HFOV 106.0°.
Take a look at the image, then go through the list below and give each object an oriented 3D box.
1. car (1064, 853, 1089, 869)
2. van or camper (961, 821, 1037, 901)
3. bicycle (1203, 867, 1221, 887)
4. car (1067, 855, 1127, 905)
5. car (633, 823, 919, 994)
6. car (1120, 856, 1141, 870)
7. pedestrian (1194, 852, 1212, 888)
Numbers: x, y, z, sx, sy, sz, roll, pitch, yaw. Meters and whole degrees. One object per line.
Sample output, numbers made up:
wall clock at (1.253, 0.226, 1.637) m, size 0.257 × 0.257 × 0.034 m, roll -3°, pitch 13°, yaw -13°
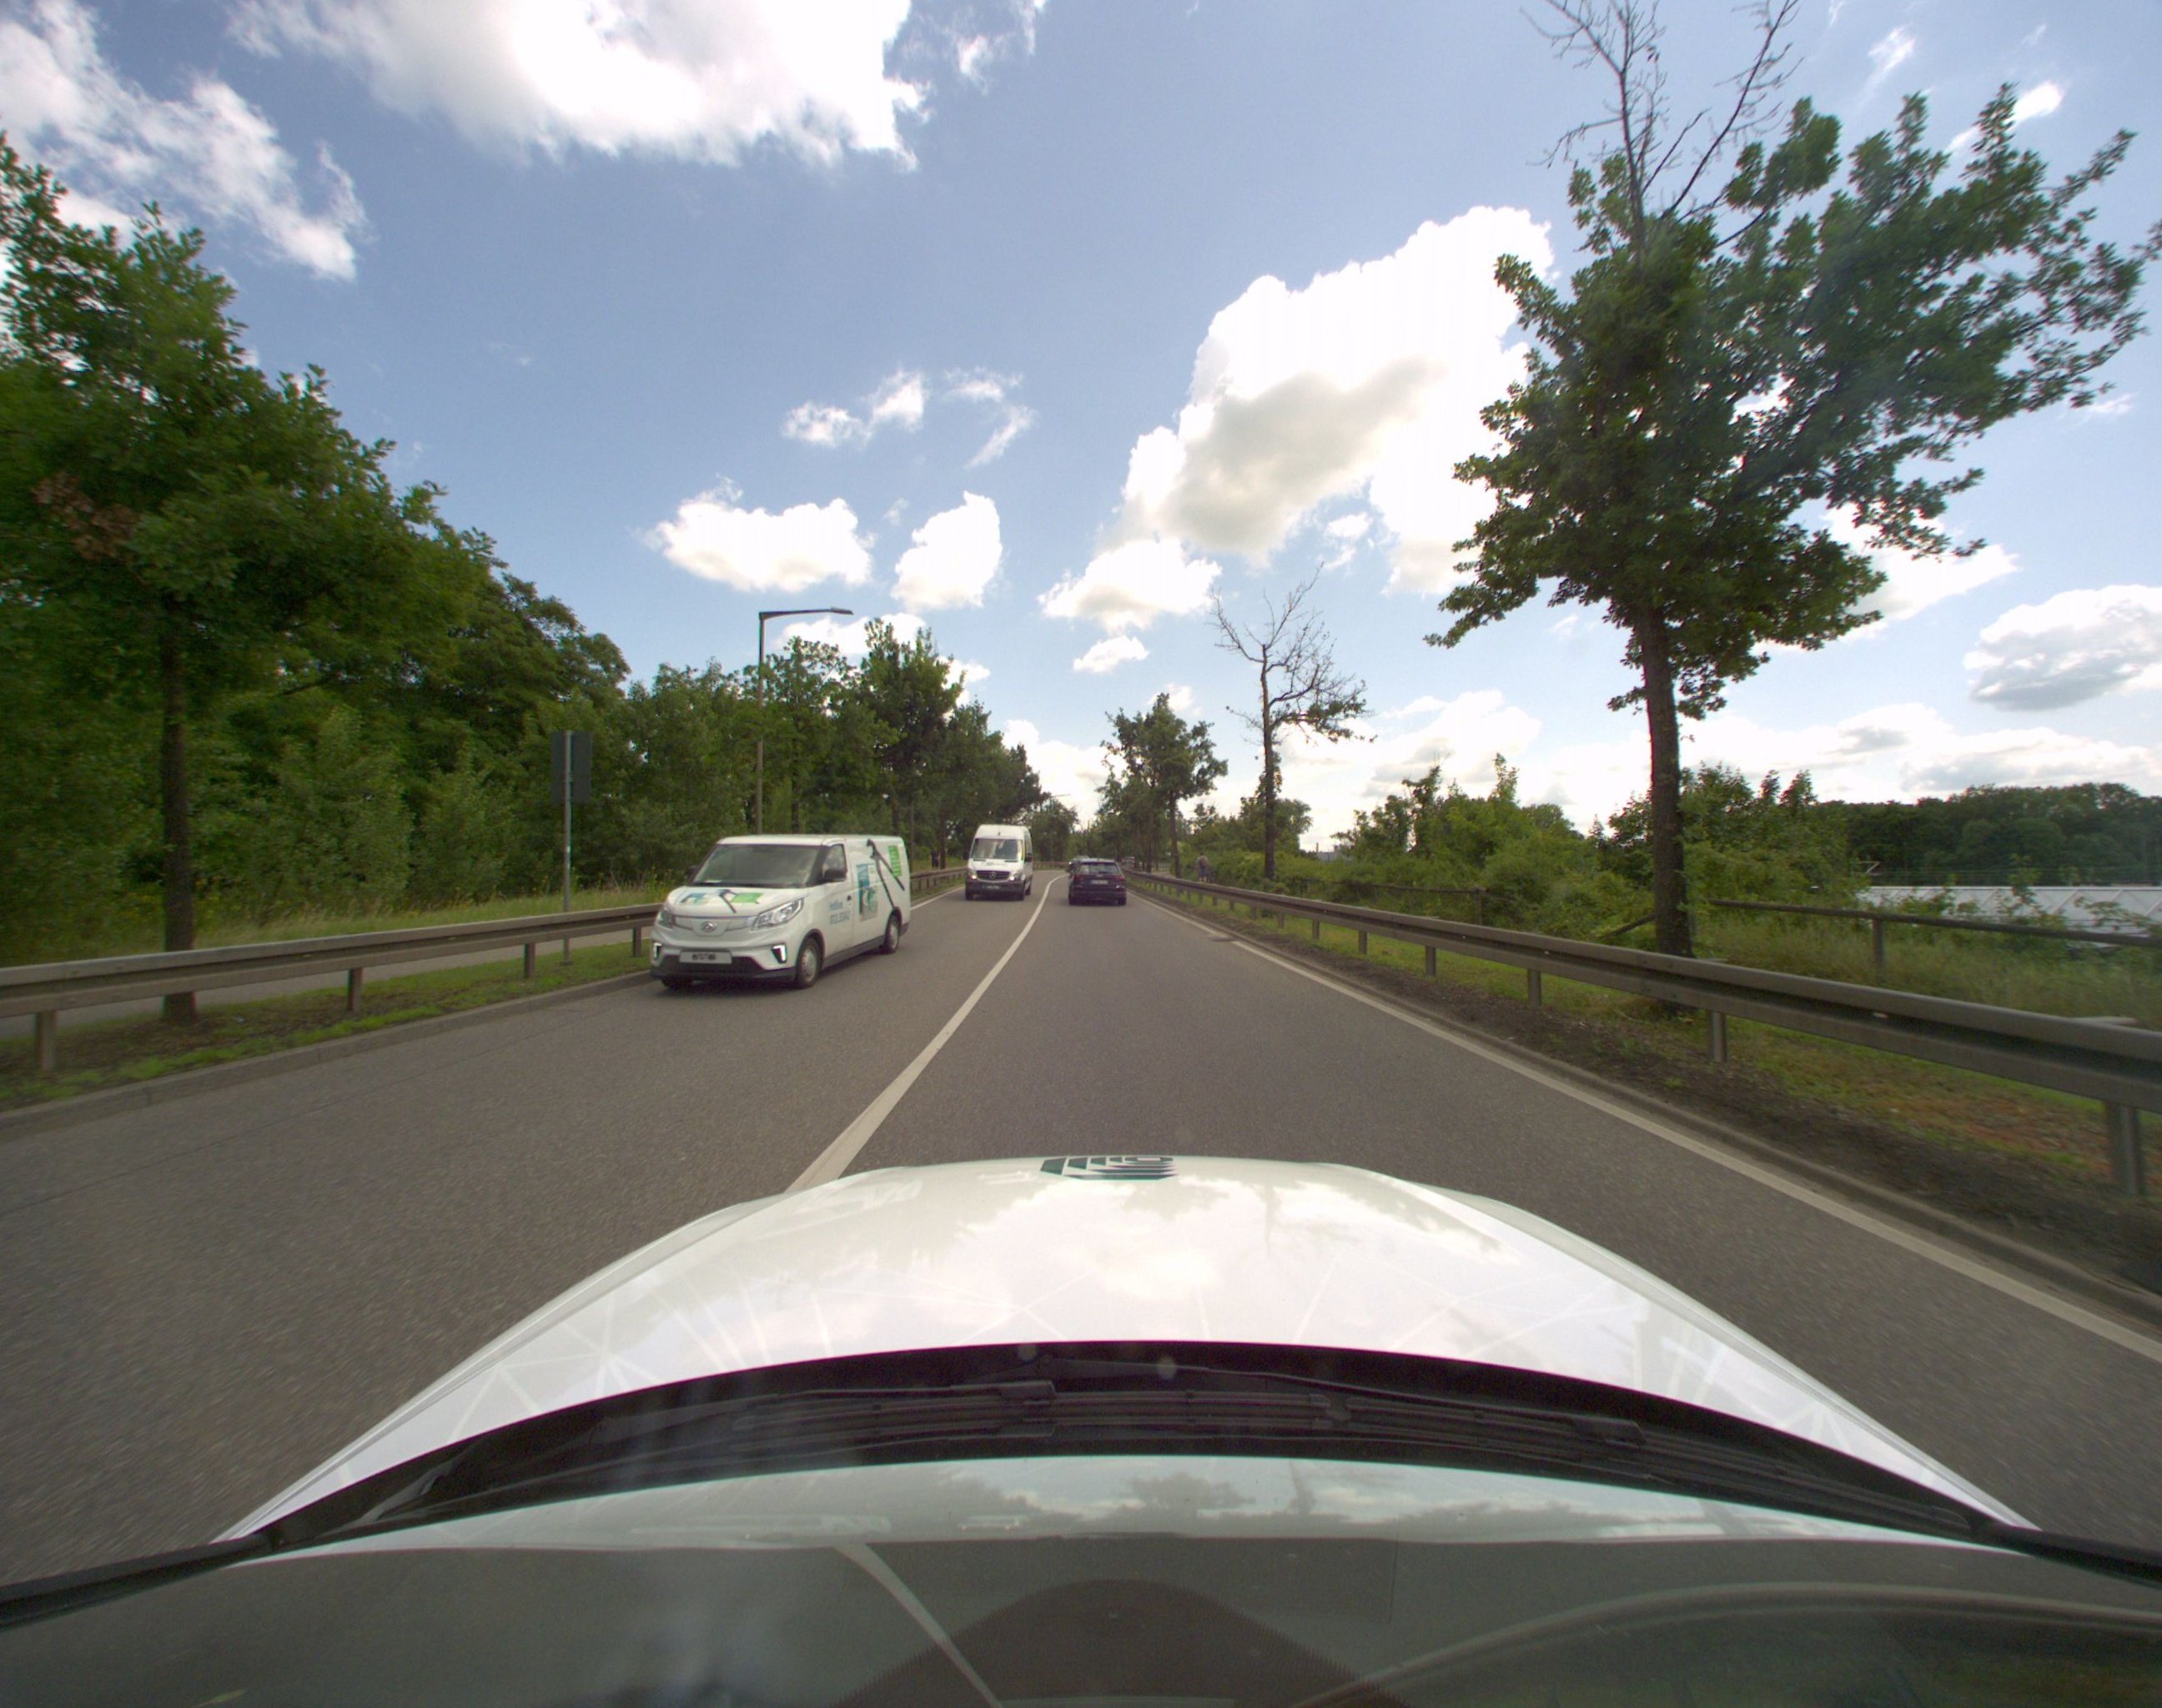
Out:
car at (-0.441, 0.724, 84.028) m, size 1.770 × 1.607 × 4.169 m, roll 1°, pitch 0°, yaw 10°
van or camper at (-2.798, 0.226, 29.241) m, size 1.986 × 2.582 × 5.982 m, roll 0°, pitch 0°, yaw 1°
bicycle at (6.103, 1.072, 38.026) m, size 0.554 × 0.869 × 1.825 m, roll -1°, pitch 0°, yaw 0°
car at (0.527, 0.781, 26.448) m, size 1.821 × 1.491 × 4.208 m, roll 0°, pitch 0°, yaw 1°
car at (-3.894, 0.607, 11.601) m, size 1.768 × 1.867 × 5.272 m, roll -1°, pitch 0°, yaw 4°
car at (5.571, 1.001, 90.734) m, size 1.567 × 1.520 × 4.016 m, roll 0°, pitch 0°, yaw 15°
pedestrian at (5.701, 0.736, 38.202) m, size 0.655 × 1.642 × 1.054 m, roll -1°, pitch -1°, yaw -1°
